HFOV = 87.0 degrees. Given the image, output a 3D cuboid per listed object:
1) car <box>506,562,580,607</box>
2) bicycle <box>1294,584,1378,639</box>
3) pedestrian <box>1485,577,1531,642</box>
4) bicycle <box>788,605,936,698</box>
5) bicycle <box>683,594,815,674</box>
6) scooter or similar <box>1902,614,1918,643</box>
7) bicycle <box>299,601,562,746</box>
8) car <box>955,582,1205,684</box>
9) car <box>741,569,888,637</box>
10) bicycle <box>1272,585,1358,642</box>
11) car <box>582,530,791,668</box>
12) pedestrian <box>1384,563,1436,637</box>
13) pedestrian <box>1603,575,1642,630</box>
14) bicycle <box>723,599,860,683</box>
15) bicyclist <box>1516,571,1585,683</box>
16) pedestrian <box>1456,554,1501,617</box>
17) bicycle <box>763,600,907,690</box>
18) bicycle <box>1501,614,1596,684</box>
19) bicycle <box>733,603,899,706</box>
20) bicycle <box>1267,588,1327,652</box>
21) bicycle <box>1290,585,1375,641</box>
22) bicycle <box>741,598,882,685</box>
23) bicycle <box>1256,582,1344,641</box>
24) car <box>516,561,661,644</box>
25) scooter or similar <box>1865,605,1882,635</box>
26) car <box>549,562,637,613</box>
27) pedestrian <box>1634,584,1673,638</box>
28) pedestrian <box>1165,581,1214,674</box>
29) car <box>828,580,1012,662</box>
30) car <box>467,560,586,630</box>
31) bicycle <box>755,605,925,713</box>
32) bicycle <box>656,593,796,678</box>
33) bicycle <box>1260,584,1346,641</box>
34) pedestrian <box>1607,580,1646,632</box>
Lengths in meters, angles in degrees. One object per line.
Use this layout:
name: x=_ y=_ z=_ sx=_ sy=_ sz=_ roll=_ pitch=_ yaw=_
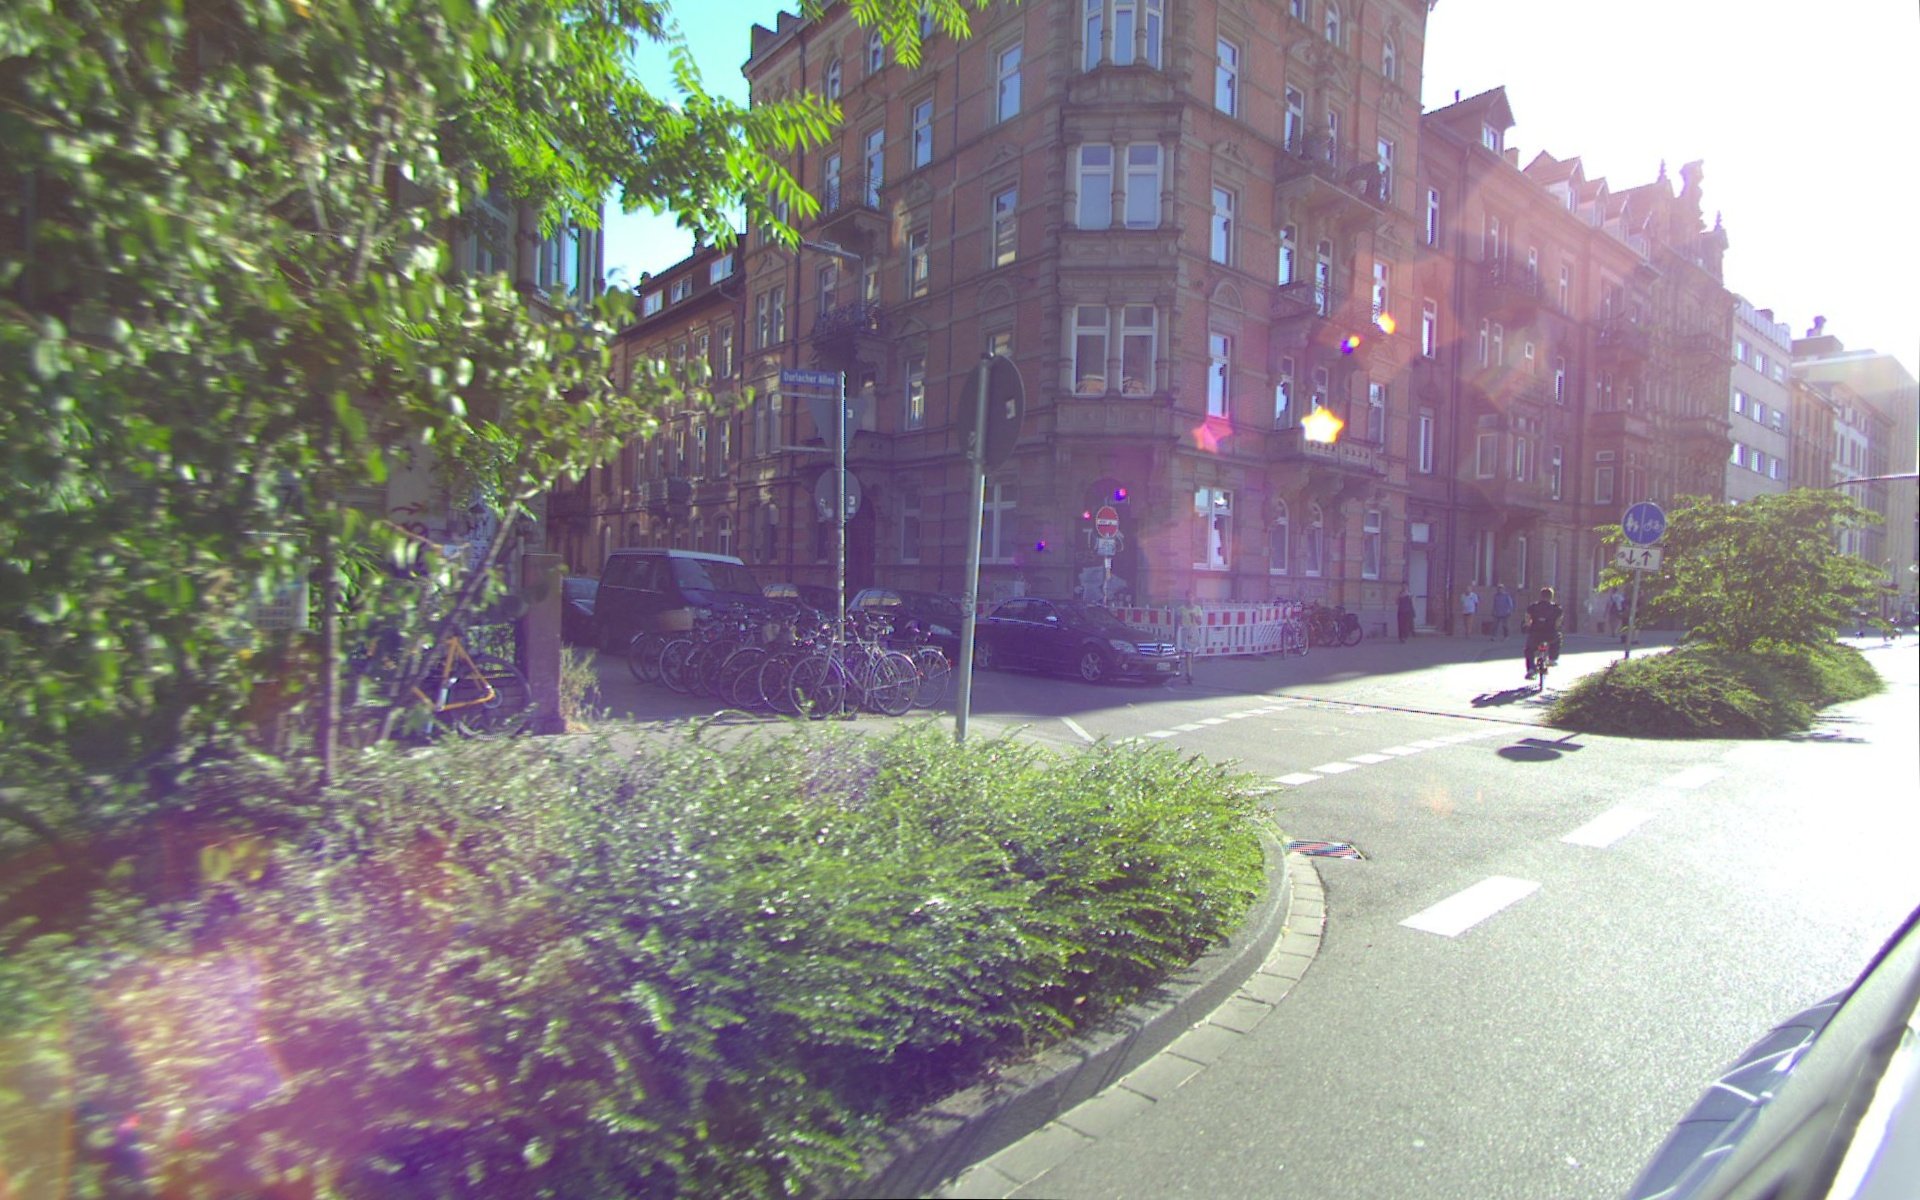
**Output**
car: x=-17.406 y=-0.676 z=42.147 sx=1.778 sy=1.608 sz=4.264 roll=5 pitch=-1 yaw=-37
bicycle: x=9.481 y=0.269 z=25.566 sx=1.881 sy=1.254 sz=0.484 roll=4 pitch=3 yaw=39
pedestrian: x=16.844 y=0.281 z=31.085 sx=1.116 sy=1.954 sz=0.824 roll=1 pitch=1 yaw=-39
bicycle: x=-1.187 y=0.655 z=12.581 sx=1.788 sy=1.061 sz=0.519 roll=4 pitch=0 yaw=-40
bicycle: x=-3.061 y=0.515 z=14.803 sx=1.788 sy=1.061 sz=0.519 roll=4 pitch=0 yaw=-40
scooter or similar: x=44.276 y=1.309 z=47.193 sx=0.431 sy=1.264 sz=1.276 roll=4 pitch=3 yaw=41
bicycle: x=-4.106 y=0.567 z=7.934 sx=1.691 sy=1.000 sz=0.526 roll=4 pitch=0 yaw=-41
car: x=1.977 y=0.522 z=17.801 sx=1.780 sy=1.433 sz=4.262 roll=4 pitch=0 yaw=-39
car: x=-3.745 y=0.025 z=25.532 sx=1.778 sy=1.433 sz=4.264 roll=5 pitch=-1 yaw=-37
bicycle: x=8.667 y=0.313 z=24.766 sx=1.881 sy=1.254 sz=0.484 roll=4 pitch=3 yaw=39
car: x=-5.050 y=-0.036 z=18.232 sx=1.743 sy=2.151 sz=4.586 roll=4 pitch=-1 yaw=-40
pedestrian: x=12.207 y=-0.014 z=27.469 sx=1.116 sy=1.954 sz=0.824 roll=1 pitch=1 yaw=-39
pedestrian: x=24.169 y=0.105 z=36.926 sx=1.116 sy=1.954 sz=0.824 roll=1 pitch=1 yaw=-39
bicycle: x=-2.289 y=0.581 z=13.911 sx=1.788 sy=1.061 sz=0.519 roll=4 pitch=0 yaw=-40
bicyclist: x=10.153 y=0.438 z=17.389 sx=1.033 sy=1.837 sz=0.643 roll=0 pitch=3 yaw=-40
pedestrian: x=16.299 y=-0.461 z=31.817 sx=1.116 sy=1.954 sz=0.824 roll=1 pitch=1 yaw=-39
bicycle: x=-1.589 y=0.598 z=13.081 sx=1.788 sy=1.061 sz=0.519 roll=4 pitch=0 yaw=-40
bicycle: x=10.131 y=0.806 z=17.386 sx=2.318 sy=1.060 sz=0.643 roll=-1 pitch=3 yaw=-40
bicycle: x=-1.600 y=0.626 z=11.450 sx=1.788 sy=1.061 sz=0.519 roll=4 pitch=0 yaw=-40
bicycle: x=7.158 y=0.395 z=21.460 sx=0.489 sy=1.254 sz=1.861 roll=4 pitch=4 yaw=41
bicycle: x=9.206 y=0.309 z=25.062 sx=1.881 sy=1.254 sz=0.484 roll=4 pitch=3 yaw=39
bicycle: x=-1.949 y=0.567 z=13.499 sx=1.788 sy=1.061 sz=0.519 roll=4 pitch=0 yaw=-40
bicycle: x=8.018 y=0.245 z=23.906 sx=1.881 sy=1.254 sz=0.484 roll=4 pitch=3 yaw=39
car: x=-8.420 y=0.018 z=22.734 sx=1.760 sy=1.527 sz=4.173 roll=4 pitch=0 yaw=-38
scooter or similar: x=40.310 y=0.876 z=44.654 sx=0.430 sy=1.264 sz=1.277 roll=4 pitch=3 yaw=39
car: x=-13.497 y=-0.478 z=37.098 sx=1.778 sy=1.608 sz=4.264 roll=5 pitch=-1 yaw=-37
pedestrian: x=22.310 y=0.360 z=32.538 sx=1.116 sy=1.676 sz=0.704 roll=1 pitch=1 yaw=-39
pedestrian: x=3.969 y=0.459 z=17.554 sx=0.649 sy=1.553 sz=0.702 roll=2 pitch=1 yaw=2
car: x=-0.962 y=0.394 z=21.612 sx=1.778 sy=1.433 sz=4.265 roll=5 pitch=-1 yaw=-36
car: x=-11.391 y=-0.175 z=26.427 sx=1.760 sy=1.527 sz=4.173 roll=4 pitch=0 yaw=-38
bicycle: x=-1.280 y=0.653 z=11.050 sx=1.788 sy=1.061 sz=0.519 roll=4 pitch=0 yaw=-40
bicycle: x=-3.204 y=0.507 z=13.975 sx=1.788 sy=1.061 sz=0.519 roll=4 pitch=0 yaw=-40
bicycle: x=8.244 y=0.279 z=24.372 sx=1.881 sy=1.254 sz=0.484 roll=4 pitch=3 yaw=39
pedestrian: x=21.834 y=0.189 z=33.149 sx=1.116 sy=1.676 sz=0.704 roll=1 pitch=1 yaw=-39
